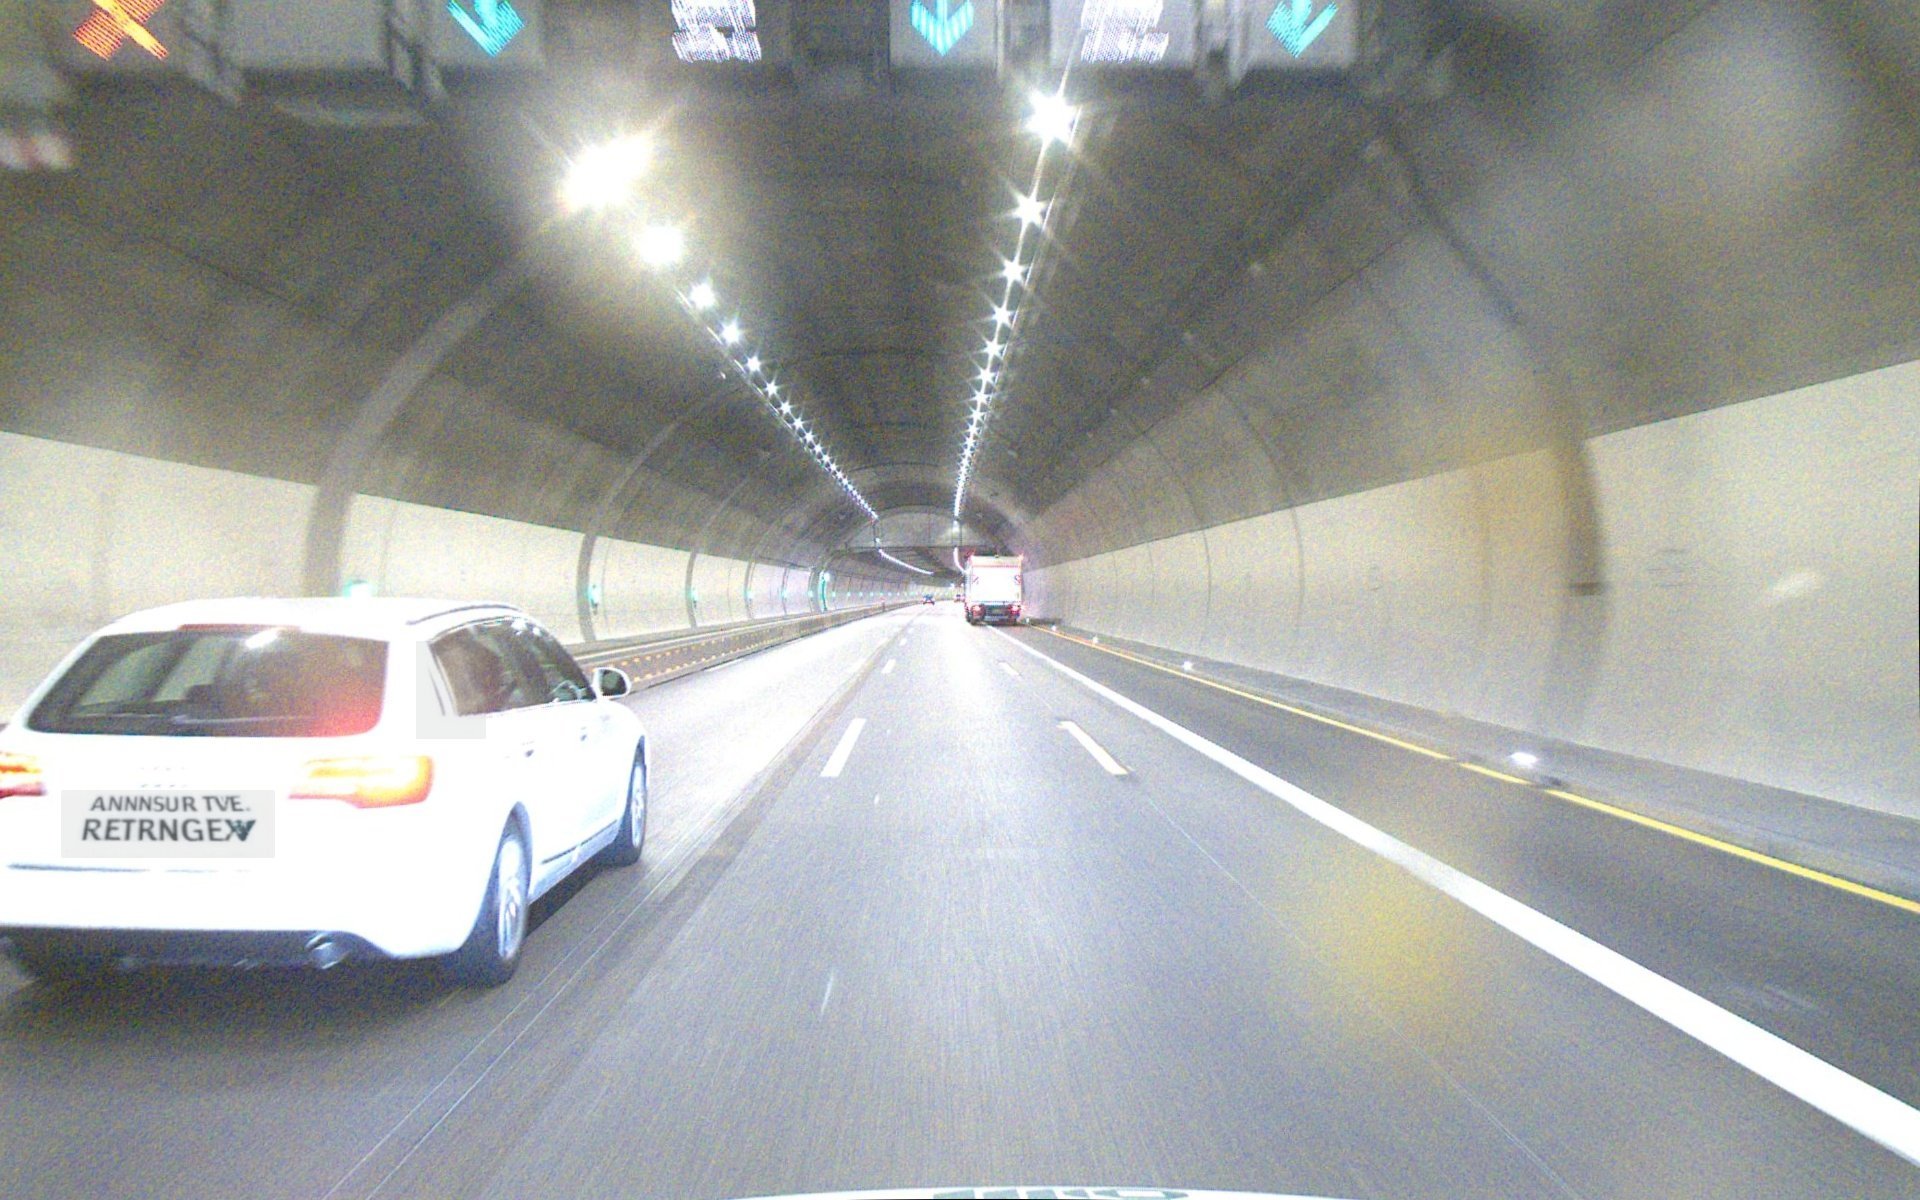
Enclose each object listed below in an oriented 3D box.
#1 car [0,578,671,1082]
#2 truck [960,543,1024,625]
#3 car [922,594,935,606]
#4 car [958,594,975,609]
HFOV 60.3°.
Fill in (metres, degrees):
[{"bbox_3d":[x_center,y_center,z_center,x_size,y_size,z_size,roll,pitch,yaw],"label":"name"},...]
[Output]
[{"bbox_3d":[-2.610,0.698,7.445,1.865,1.511,4.942,1,0,-2],"label":"car"},{"bbox_3d":[1.570,-0.753,86.562,3.029,3.986,10.366,-1,-1,-1],"label":"truck"},{"bbox_3d":[-4.398,0.012,228.115,1.723,1.486,4.118,-1,1,0],"label":"car"},{"bbox_3d":[0.700,0.150,176.264,1.704,1.486,3.961,-1,1,1],"label":"car"}]
